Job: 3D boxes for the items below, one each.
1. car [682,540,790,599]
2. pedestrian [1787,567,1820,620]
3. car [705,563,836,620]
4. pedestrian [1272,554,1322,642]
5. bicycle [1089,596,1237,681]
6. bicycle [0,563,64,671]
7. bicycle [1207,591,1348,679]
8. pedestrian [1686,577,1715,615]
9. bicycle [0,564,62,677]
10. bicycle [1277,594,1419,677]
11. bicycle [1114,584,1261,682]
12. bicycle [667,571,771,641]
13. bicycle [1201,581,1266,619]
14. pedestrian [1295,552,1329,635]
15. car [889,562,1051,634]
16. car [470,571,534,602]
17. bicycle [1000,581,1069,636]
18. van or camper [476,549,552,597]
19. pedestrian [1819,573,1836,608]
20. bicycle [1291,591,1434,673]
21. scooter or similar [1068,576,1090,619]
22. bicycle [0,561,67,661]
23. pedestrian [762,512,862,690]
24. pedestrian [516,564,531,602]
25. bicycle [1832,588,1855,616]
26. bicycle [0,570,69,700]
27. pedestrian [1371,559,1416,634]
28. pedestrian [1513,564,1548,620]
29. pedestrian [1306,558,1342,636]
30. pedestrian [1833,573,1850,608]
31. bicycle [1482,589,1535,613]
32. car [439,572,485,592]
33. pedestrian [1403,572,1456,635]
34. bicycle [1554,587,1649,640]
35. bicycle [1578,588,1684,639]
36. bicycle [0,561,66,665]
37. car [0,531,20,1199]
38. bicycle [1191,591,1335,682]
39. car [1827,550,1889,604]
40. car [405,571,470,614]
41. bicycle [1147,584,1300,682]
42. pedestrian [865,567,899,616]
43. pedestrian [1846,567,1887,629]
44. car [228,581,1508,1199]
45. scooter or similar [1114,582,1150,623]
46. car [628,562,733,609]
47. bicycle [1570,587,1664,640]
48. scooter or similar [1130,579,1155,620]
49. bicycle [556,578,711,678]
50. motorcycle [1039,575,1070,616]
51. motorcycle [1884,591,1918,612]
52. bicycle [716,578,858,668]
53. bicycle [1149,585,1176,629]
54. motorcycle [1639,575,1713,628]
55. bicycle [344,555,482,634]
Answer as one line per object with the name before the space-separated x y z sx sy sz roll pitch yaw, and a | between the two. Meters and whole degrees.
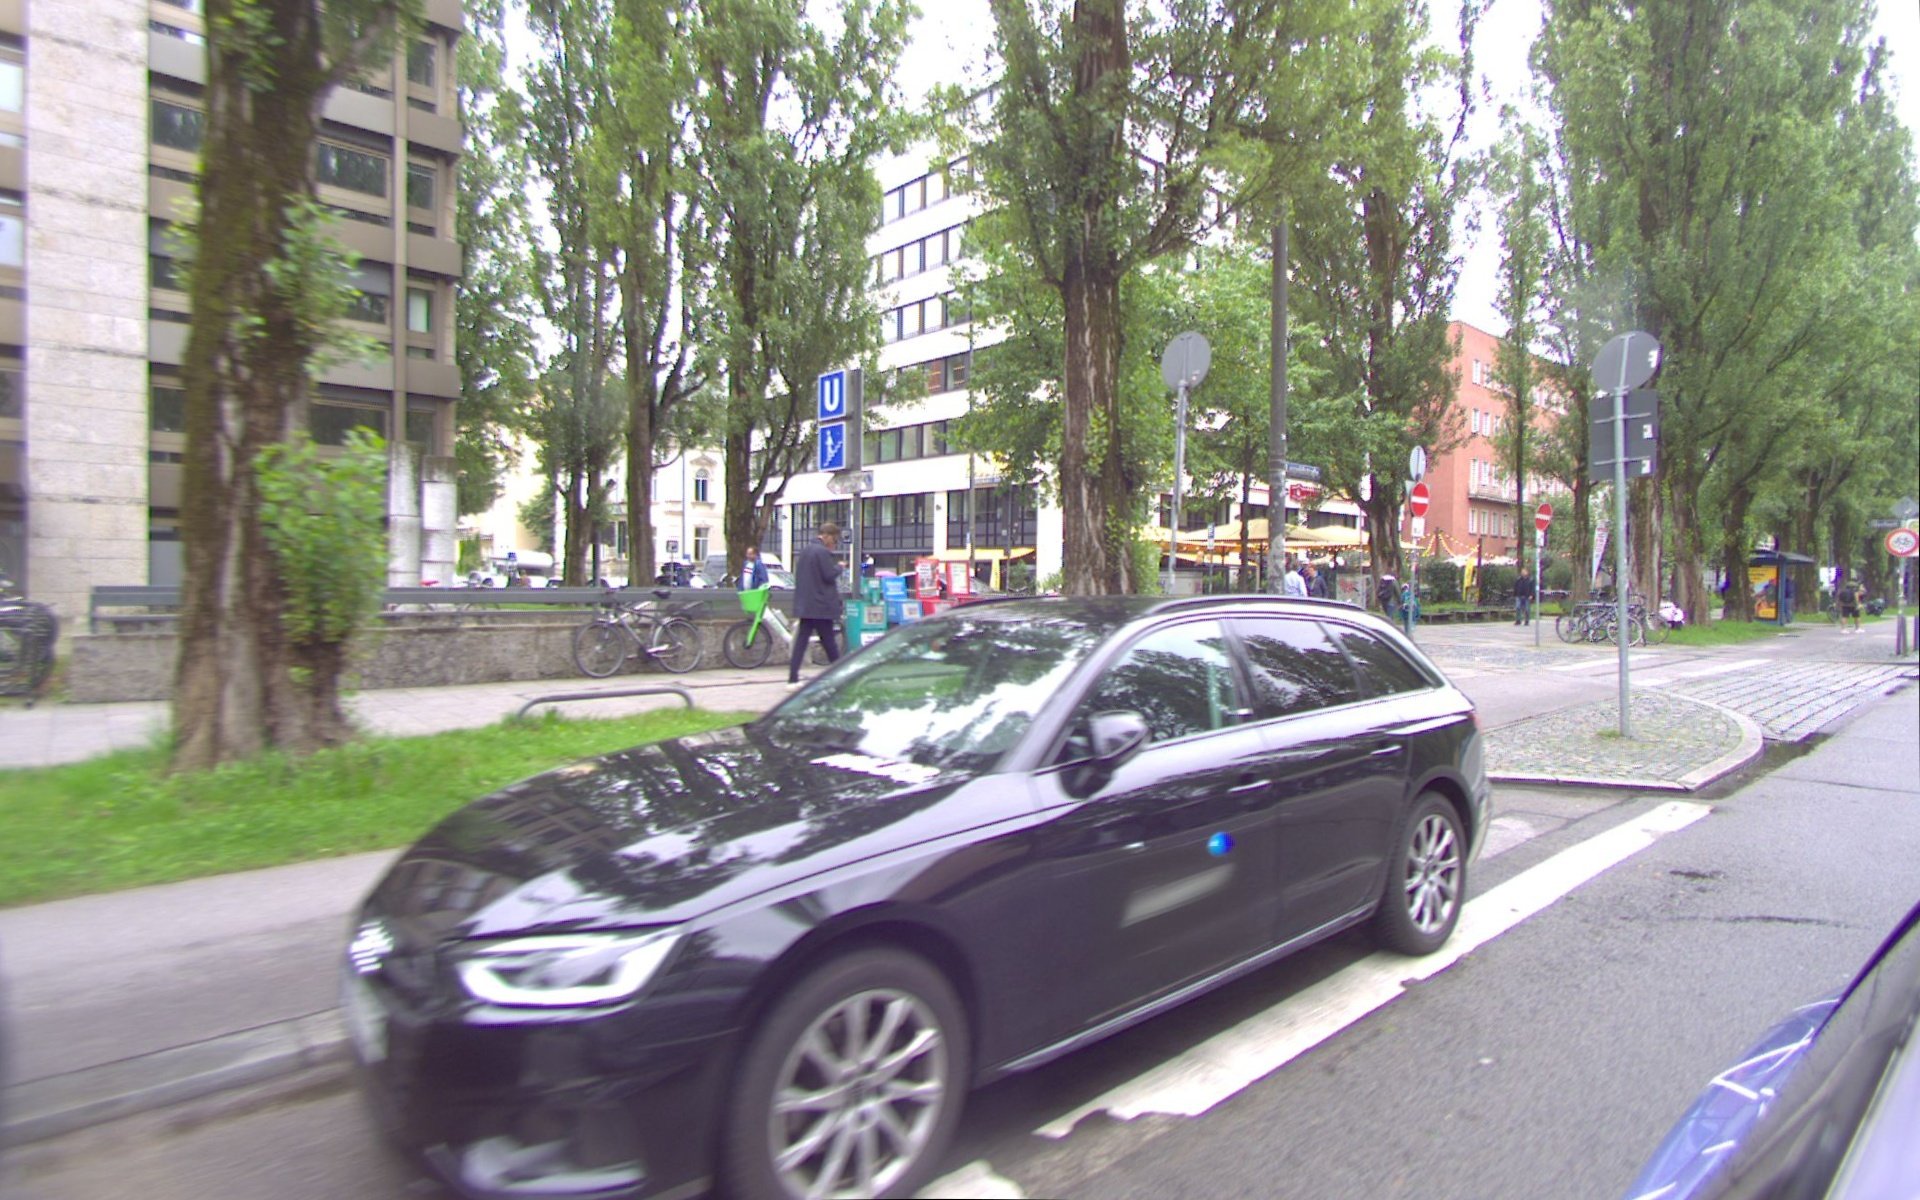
car | -10.311 -1.396 46.282 2.032 2.522 5.835 1 1 -44
pedestrian | 30.568 -0.250 36.685 0.887 1.866 0.757 1 1 41
car | -6.224 -0.341 32.911 1.986 1.721 4.662 -1 2 -43
pedestrian | 6.826 -0.048 20.497 0.658 1.746 0.711 0 1 -42
bicycle | 2.294 0.408 11.663 0.463 0.828 1.833 0 2 -36
bicycle | -10.931 0.178 10.951 1.836 1.174 0.587 -1 2 -41
bicycle | 4.319 0.442 13.899 0.467 1.063 1.875 0 3 -40
pedestrian | 34.631 -0.202 47.326 0.754 1.713 0.890 0 1 -38
bicycle | -10.536 0.209 10.480 1.836 1.174 0.587 -1 2 -41
bicycle | 5.402 0.457 14.191 0.467 1.064 1.874 0 1 -40
bicycle | 2.709 0.362 12.253 0.504 1.051 1.833 0 2 -36
bicycle | -4.652 0.096 19.619 1.836 1.292 0.721 -1 2 -41
bicycle | 7.755 -0.006 28.717 0.544 1.035 1.759 0 1 -43
pedestrian | 8.360 -0.158 24.045 0.696 1.931 0.640 1 1 25
car | 0.201 -0.123 26.513 1.895 1.721 4.192 -1 2 -43
car | -23.996 -0.719 53.007 1.839 1.517 3.863 -2 3 -45
bicycle | 1.631 0.164 22.390 0.466 1.151 1.877 0 1 -33
van or camper | -30.060 -1.825 68.041 2.424 3.085 7.301 0 1 -43
pedestrian | 42.935 -0.459 50.076 0.477 1.713 0.517 0 1 -38
bicycle | 5.766 0.430 14.586 1.870 1.063 0.468 3 2 44
scooter or similar | 3.663 -0.074 31.157 0.321 1.289 1.360 1 0 -8
bicycle | -11.756 0.124 11.919 1.836 1.174 0.587 -1 2 -41
pedestrian | -1.696 -0.004 11.628 0.889 1.952 0.715 0 1 -41
pedestrian | -19.104 -0.745 44.285 0.481 1.648 0.567 0 1 -39
bicycle | 33.753 0.079 38.665 0.552 1.035 1.734 1 2 45
bicycle | -9.218 0.314 8.979 1.950 1.174 0.587 -1 2 -41
pedestrian | 10.095 -0.094 23.588 0.676 1.722 0.665 0 1 -26
pedestrian | 17.521 -0.252 31.094 0.635 1.713 0.735 0 1 -38
pedestrian | 8.316 -0.085 23.123 0.696 1.749 0.640 1 1 25
pedestrian | 43.261 -0.456 49.647 0.477 1.713 0.517 0 1 -38
bicycle | 22.411 0.033 41.350 0.610 0.924 1.798 0 2 -44
car | -37.138 -1.351 75.420 1.968 1.404 3.863 -2 3 -45
pedestrian | 10.969 0.059 23.653 0.755 1.437 0.820 0 1 -26
bicycle | 14.158 0.284 22.378 0.482 1.107 1.703 0 1 -36
bicycle | 15.502 0.285 23.423 0.482 1.107 1.983 0 1 -36
bicycle | -11.344 0.141 11.434 1.836 1.174 0.587 -1 2 -41
car | -3.254 0.650 0.613 3.839 1.546 1.746 -1 1 -41
bicycle | 4.006 0.449 13.515 0.467 1.063 1.875 0 3 -40
car | 52.778 -1.340 59.431 5.900 3.054 2.195 -1 2 -44
car | -32.200 -0.520 62.338 2.055 2.462 5.598 -2 3 -44
bicycle | 3.322 0.382 12.922 0.504 1.119 1.928 0 2 -41
pedestrian | -2.813 -0.296 36.280 0.913 1.727 0.799 0 1 -40
pedestrian | 26.704 -0.082 29.822 0.692 1.795 0.752 0 1 -37
car | 0.131 0.667 3.629 4.369 1.445 1.754 -1 1 -40
scooter or similar | 5.046 0.067 29.685 1.229 1.158 0.327 0 1 -42
car | -10.304 -0.567 37.156 1.967 1.602 4.332 -1 2 -43
bicycle | 14.747 0.283 22.762 0.482 1.107 1.703 0 1 -36
scooter or similar | 5.221 -0.030 28.880 0.365 1.158 1.419 1 1 24
bicycle | -4.100 0.311 12.825 0.585 1.174 1.842 1 2 40
motorcycle | 2.918 -0.166 31.331 0.756 1.210 1.992 1 1 0
motorcycle | 44.162 0.074 47.508 0.461 0.950 1.655 1 1 15
bicycle | -2.353 0.289 13.852 1.832 1.174 0.588 0 1 -30
bicycle | 5.601 0.172 27.929 0.546 1.157 1.753 1 1 17
motorcycle | 19.367 0.016 27.437 0.618 1.209 1.991 1 6 4
bicycle | -8.572 -0.097 15.901 1.836 1.174 0.587 -1 2 -41
